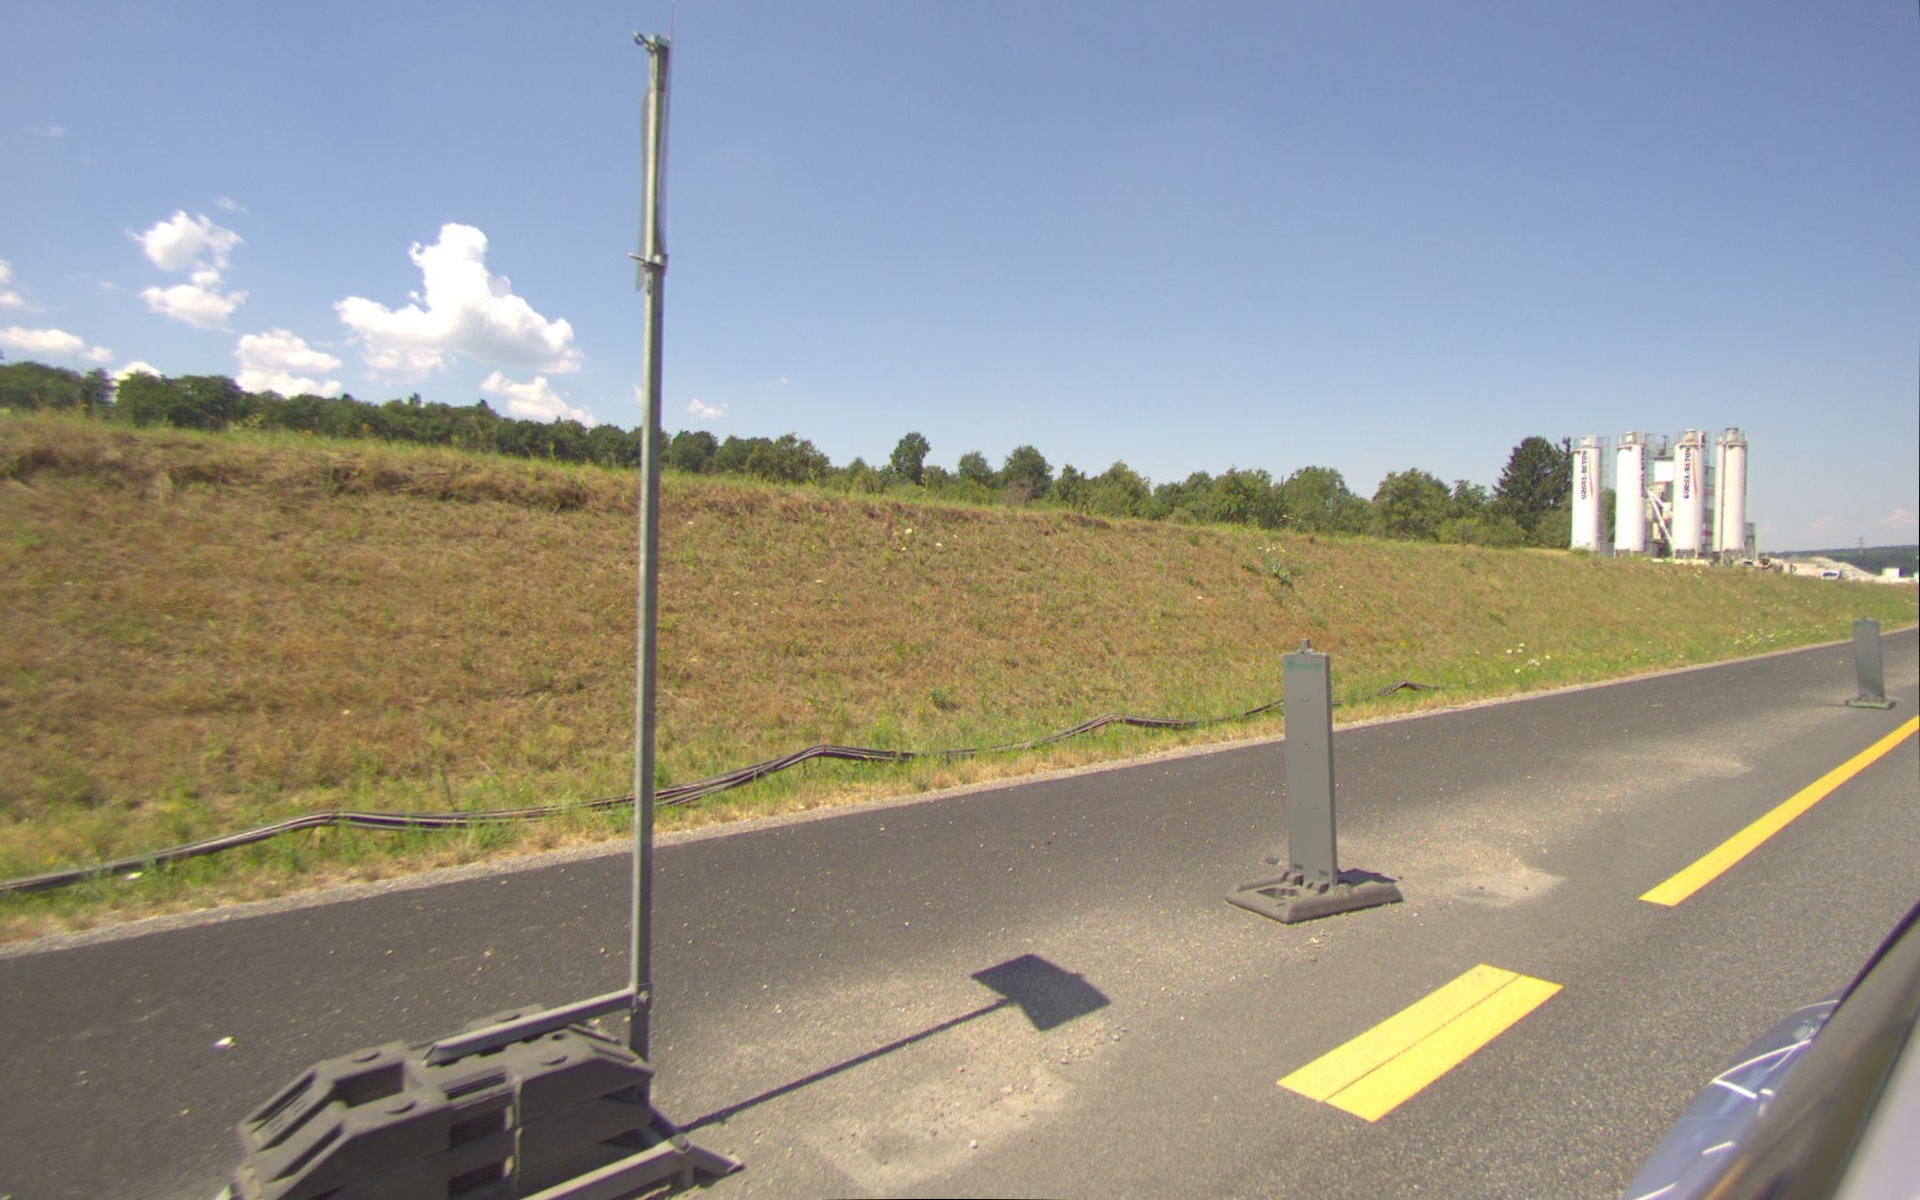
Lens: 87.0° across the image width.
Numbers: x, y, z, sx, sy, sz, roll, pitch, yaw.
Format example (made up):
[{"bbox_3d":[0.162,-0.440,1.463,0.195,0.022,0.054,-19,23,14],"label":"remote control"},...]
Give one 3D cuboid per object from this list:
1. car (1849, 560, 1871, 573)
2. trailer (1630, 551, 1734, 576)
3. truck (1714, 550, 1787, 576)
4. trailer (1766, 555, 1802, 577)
[{"bbox_3d":[127.052,-4.658,142.857,3.540,1.784,1.989,-1,1,-41],"label":"car"},{"bbox_3d":[78.342,-3.931,109.982,2.424,2.639,8.902,-1,2,-44],"label":"trailer"},{"bbox_3d":[83.328,-3.832,106.783,5.228,2.576,2.894,-1,0,13],"label":"truck"},{"bbox_3d":[105.802,-4.354,129.907,6.809,2.677,1.999,-1,0,-38],"label":"trailer"}]
